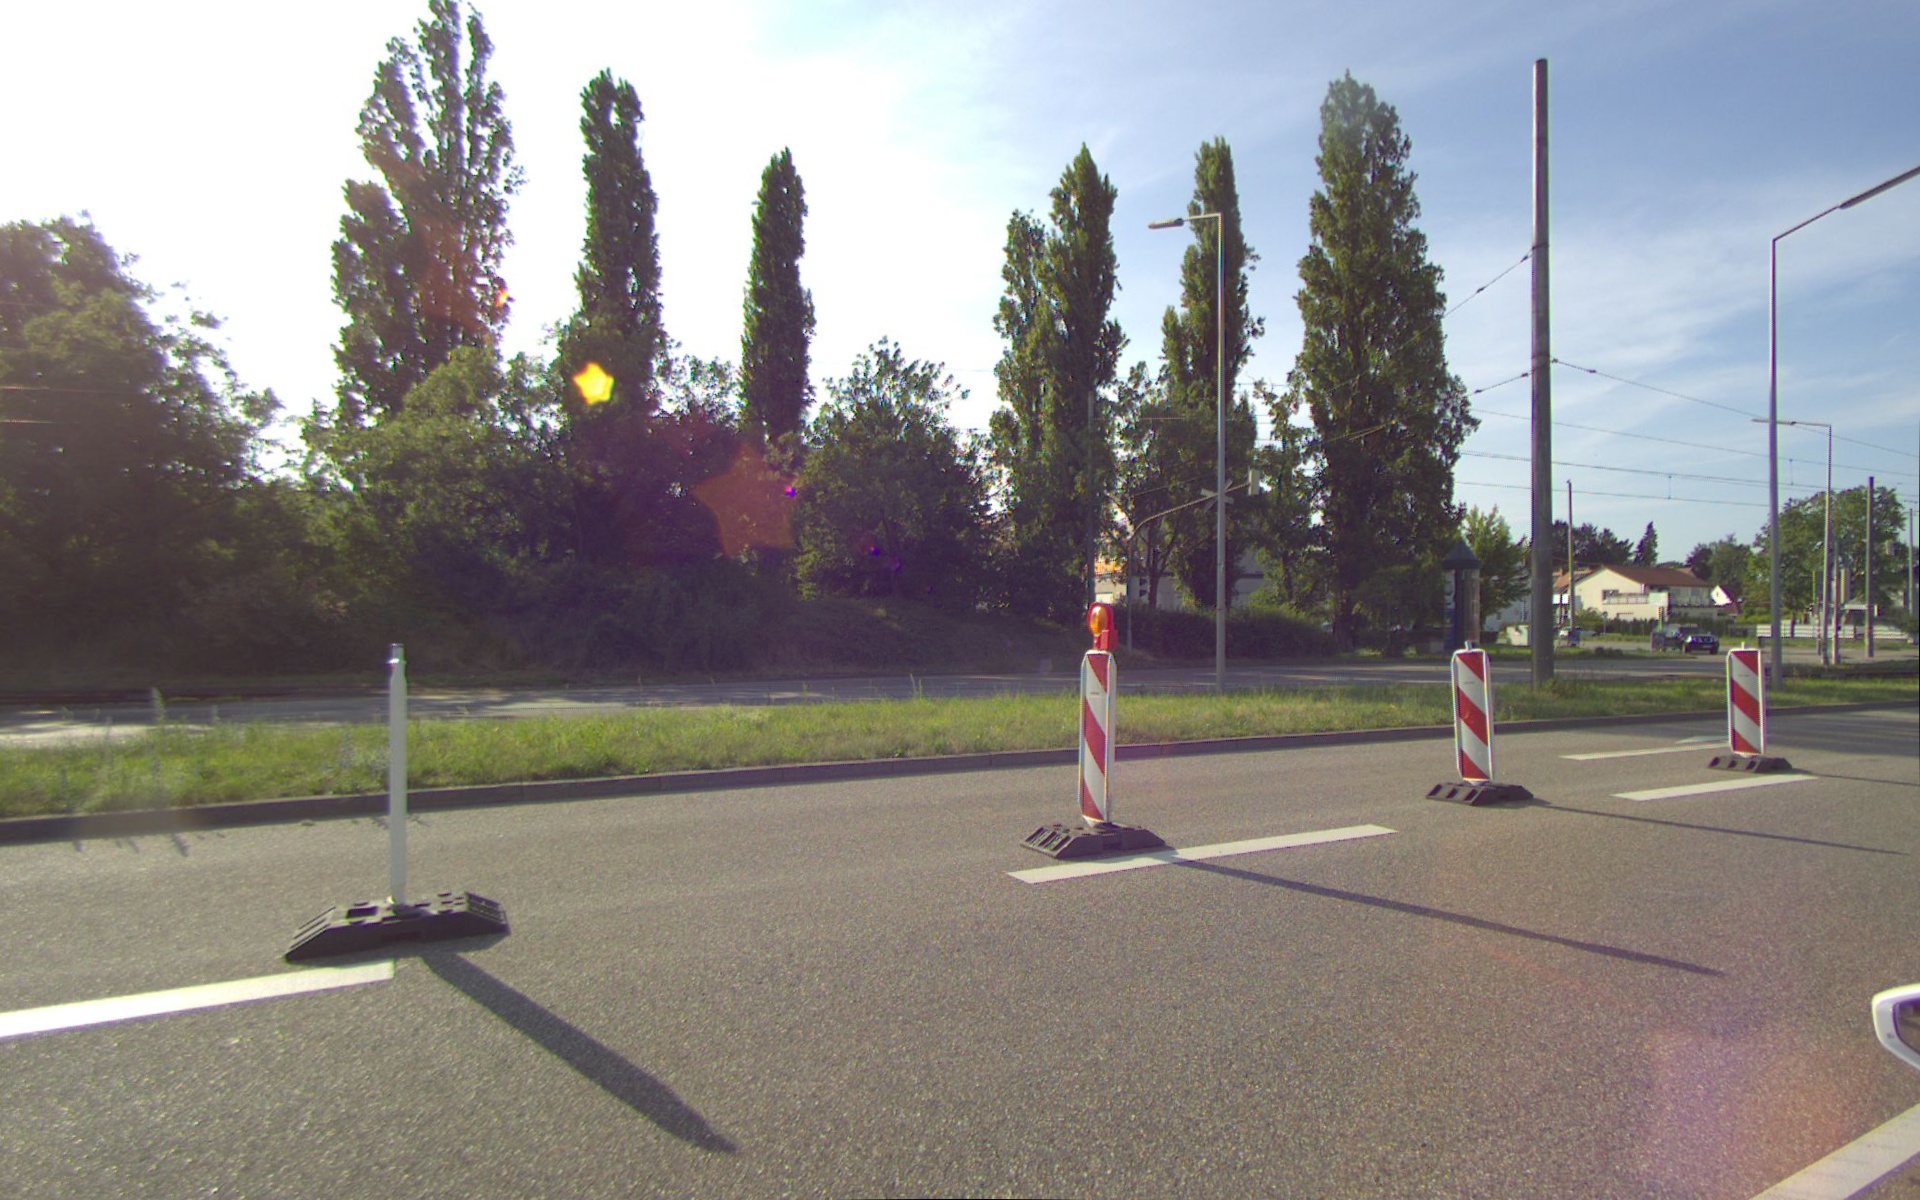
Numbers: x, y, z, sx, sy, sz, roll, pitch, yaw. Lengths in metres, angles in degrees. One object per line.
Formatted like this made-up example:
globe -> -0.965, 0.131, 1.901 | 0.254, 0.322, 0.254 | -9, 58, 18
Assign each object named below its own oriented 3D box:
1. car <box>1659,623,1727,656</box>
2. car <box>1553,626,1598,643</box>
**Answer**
car -> 47.694, 2.561, 65.478 | 1.960, 2.040, 5.360 | 0, -1, 17
car -> 67.433, 3.748, 110.031 | 4.152, 1.706, 1.992 | 2, 0, -17
